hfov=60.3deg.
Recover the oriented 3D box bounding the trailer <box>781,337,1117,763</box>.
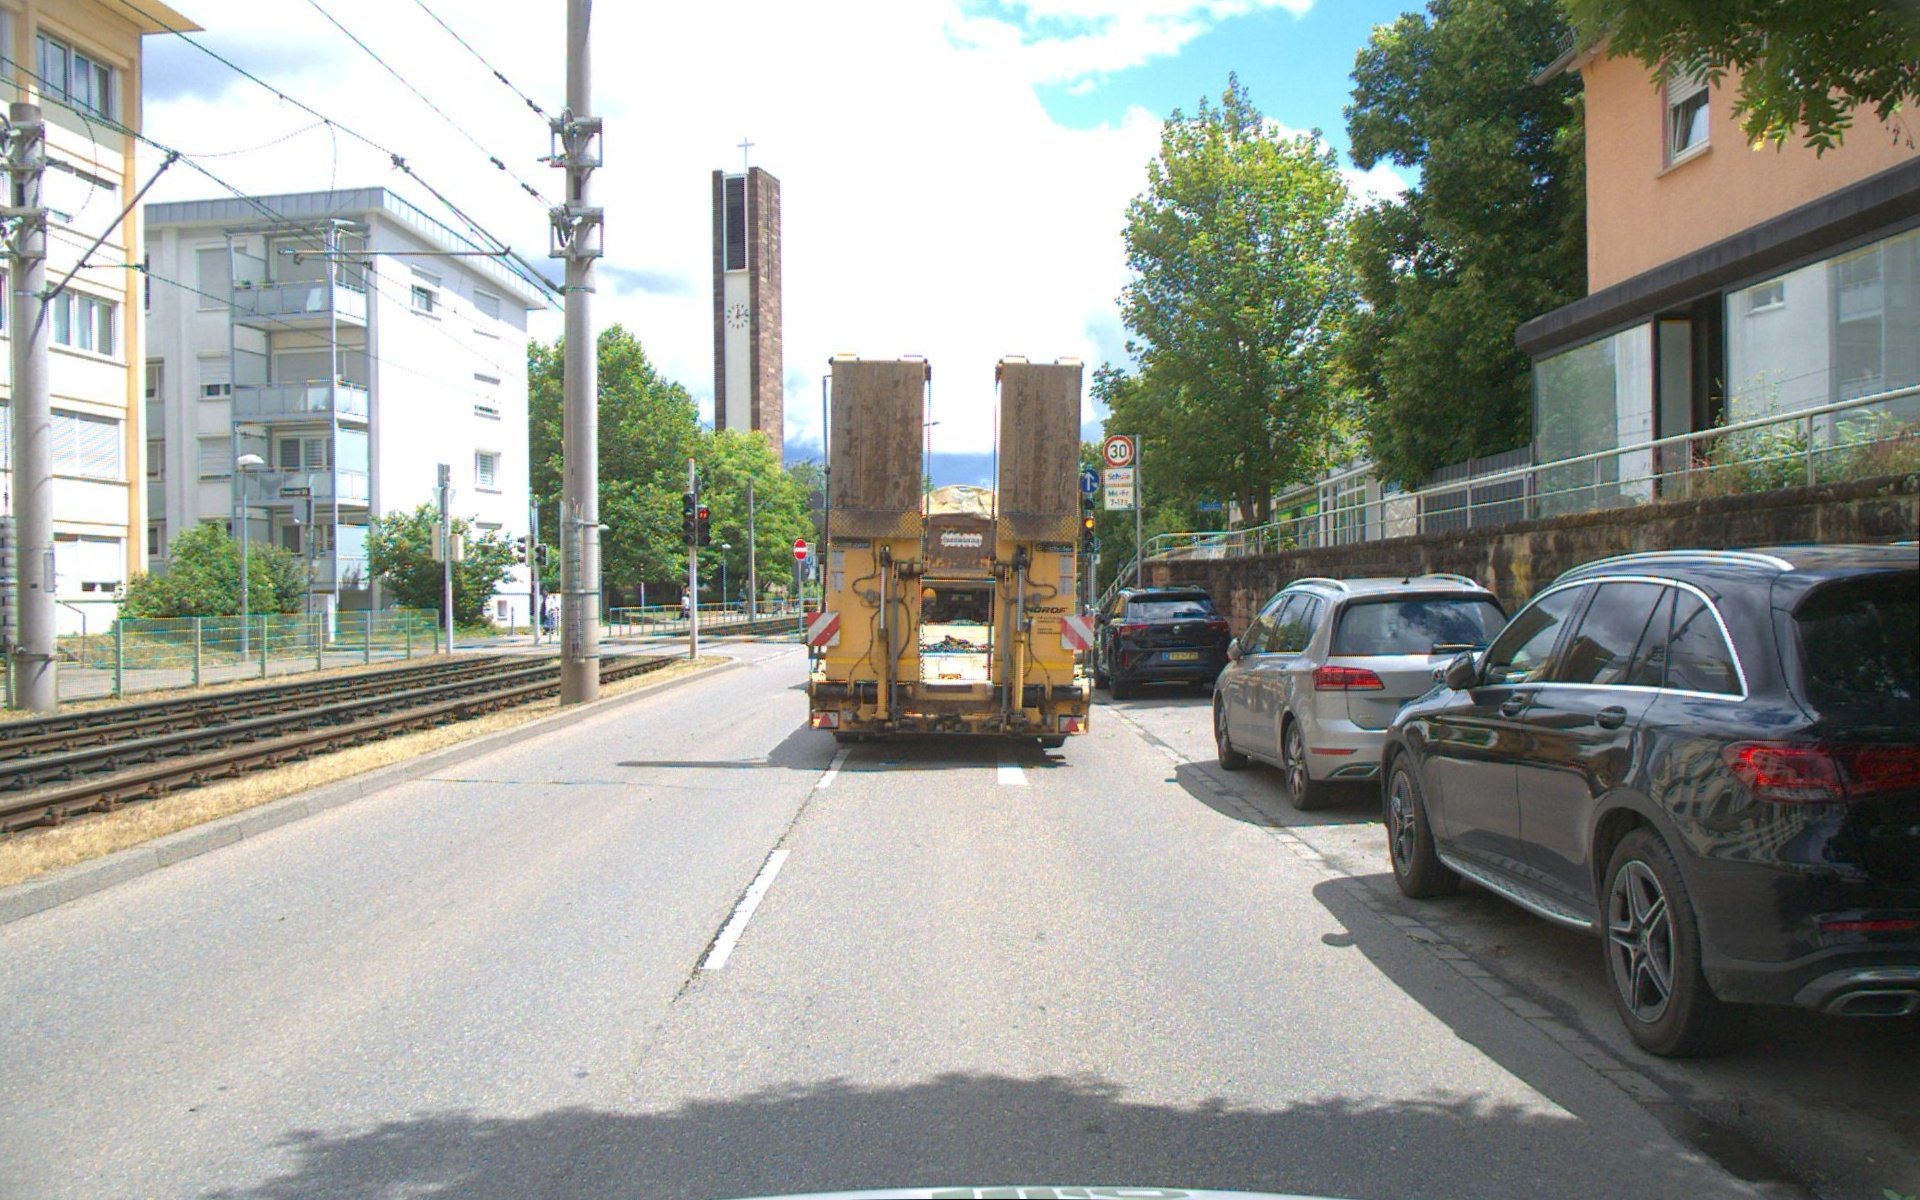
[{"bbox_3d":[-0.038,-0.463,18.604,2.884,3.664,8.684,0,0,1],"label":"trailer"}]

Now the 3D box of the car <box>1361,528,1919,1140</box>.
[{"bbox_3d":[3.113,0.592,6.730,1.753,1.646,4.447,-2,0,-1],"label":"car"}]

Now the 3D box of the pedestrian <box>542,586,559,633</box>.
[{"bbox_3d":[-13.961,0.322,56.381,0.428,1.608,0.475,0,0,4],"label":"pedestrian"}]

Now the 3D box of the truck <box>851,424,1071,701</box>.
[{"bbox_3d":[0.039,-0.510,24.228,2.882,3.635,4.877,0,0,1],"label":"truck"}]

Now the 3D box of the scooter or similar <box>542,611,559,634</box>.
[{"bbox_3d":[-13.837,0.747,55.898,0.428,0.760,0.475,0,0,5],"label":"scooter or similar"}]

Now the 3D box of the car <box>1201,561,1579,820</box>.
[{"bbox_3d":[3.125,0.580,12.947,1.753,1.646,4.248,-2,0,-1],"label":"car"}]

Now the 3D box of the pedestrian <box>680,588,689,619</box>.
[{"bbox_3d":[-14.017,0.167,84.131,0.341,1.564,0.557,0,0,3],"label":"pedestrian"}]

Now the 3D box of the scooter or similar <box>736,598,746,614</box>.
[{"bbox_3d":[-13.223,0.358,99.914,0.495,0.988,0.645,1,0,-1],"label":"scooter or similar"}]

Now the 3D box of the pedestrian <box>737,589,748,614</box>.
[{"bbox_3d":[-13.203,0.086,100.566,0.552,1.540,0.645,1,0,-1],"label":"pedestrian"}]

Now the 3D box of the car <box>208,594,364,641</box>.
[{"bbox_3d":[-20.226,0.518,49.689,3.902,1.369,1.903,-1,0,8],"label":"car"}]

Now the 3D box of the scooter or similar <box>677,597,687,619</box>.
[{"bbox_3d":[-14.044,0.407,83.478,0.331,1.076,0.688,0,0,3],"label":"scooter or similar"}]

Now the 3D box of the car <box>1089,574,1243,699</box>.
[{"bbox_3d":[3.002,0.493,24.867,1.813,1.668,4.000,-2,0,1],"label":"car"}]
